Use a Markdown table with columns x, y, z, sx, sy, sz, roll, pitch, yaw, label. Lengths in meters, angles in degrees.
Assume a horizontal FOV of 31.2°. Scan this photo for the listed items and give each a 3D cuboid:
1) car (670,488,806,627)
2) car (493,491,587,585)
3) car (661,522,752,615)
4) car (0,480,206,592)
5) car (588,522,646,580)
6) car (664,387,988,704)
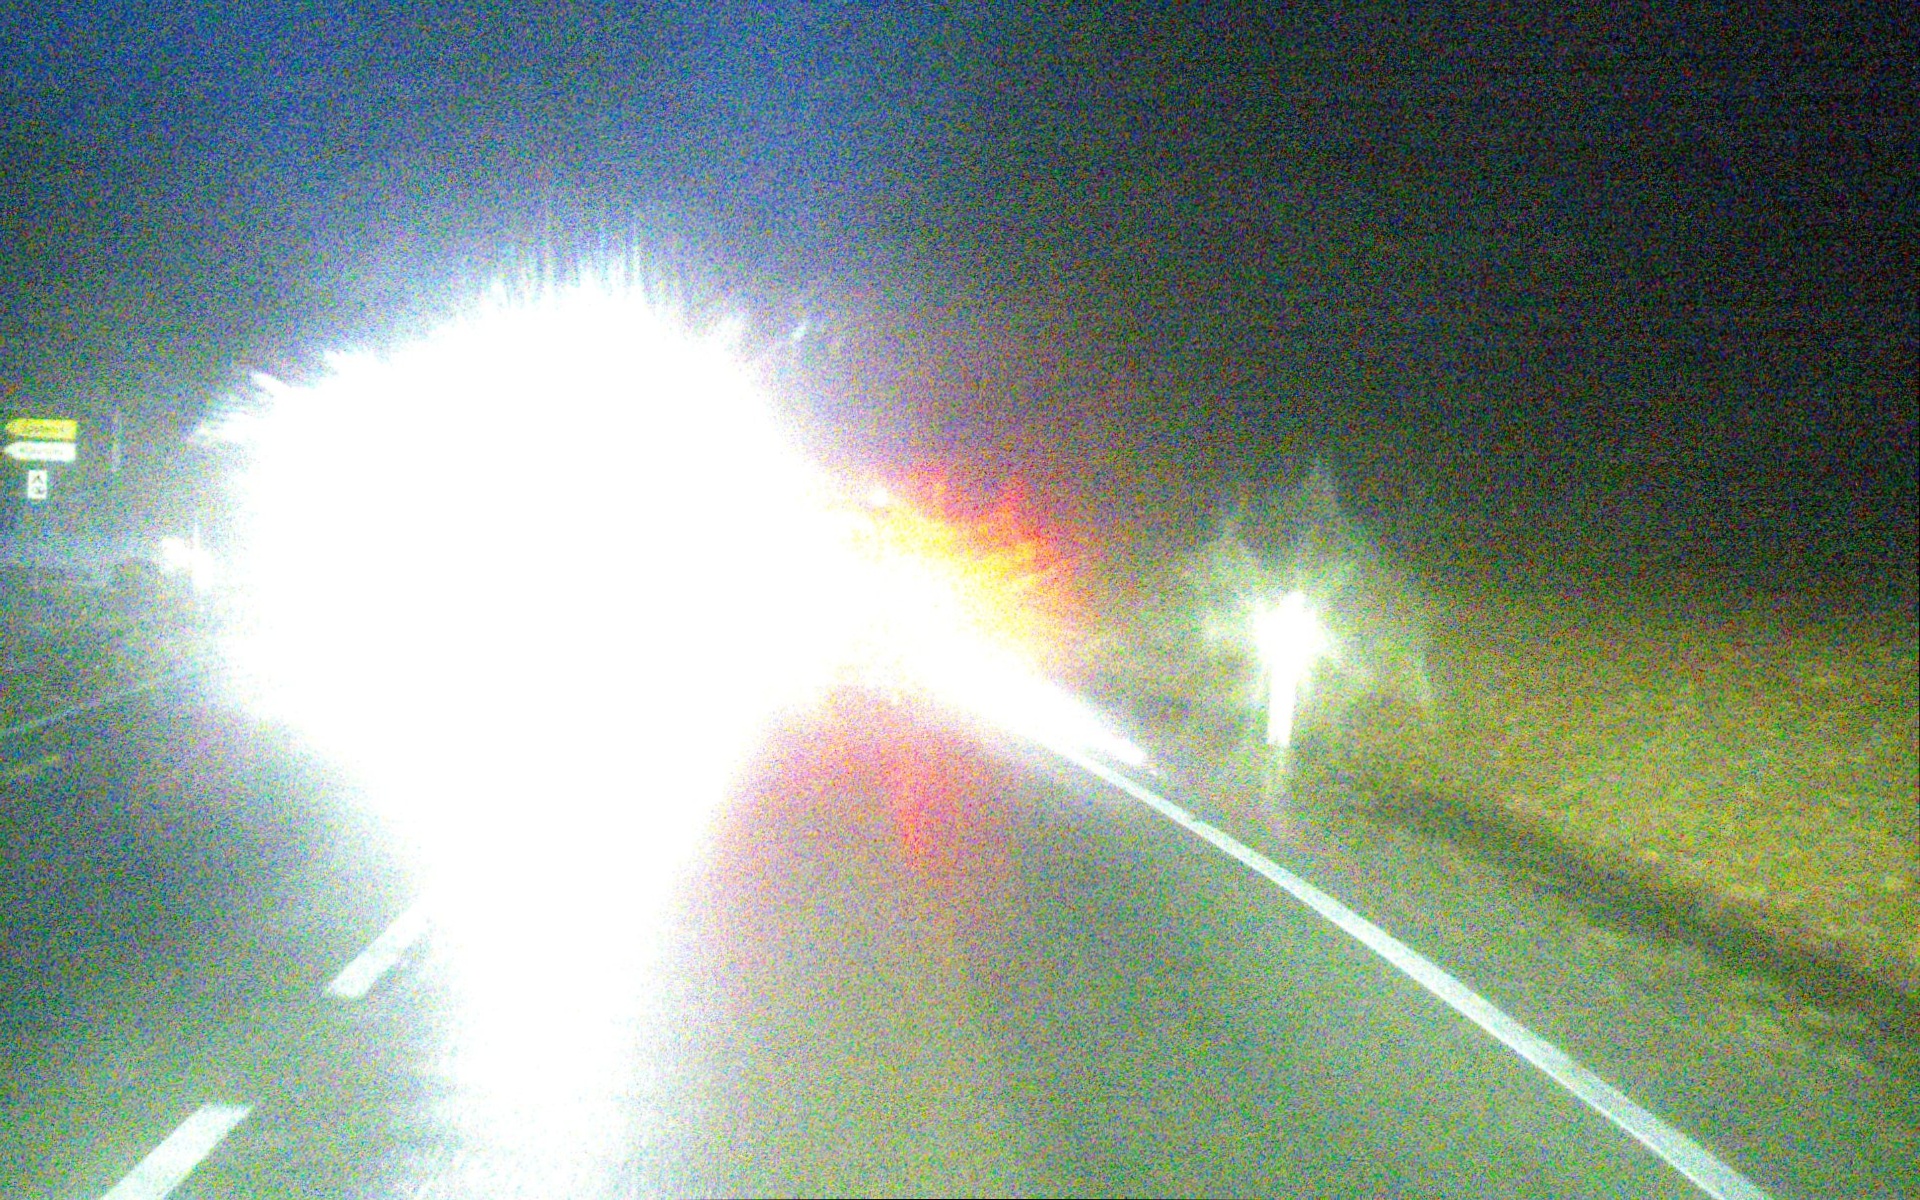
| x | y | z | sx | sy | sz | roll | pitch | yaw | label |
| --- | --- | --- | --- | --- | --- | --- | --- | --- | --- |
| -3.598 | -0.646 | 55.274 | 1.993 | 2.007 | 4.000 | 3 | -1 | -5 | car |
| -8.527 | -1.288 | 70.053 | 1.753 | 1.728 | 4.001 | 3 | 2 | -6 | car |
| -5.195 | -0.625 | 70.794 | 1.740 | 1.708 | 3.700 | 3 | -1 | -4 | car |
| -14.436 | -1.013 | 53.974 | 4.911 | 1.729 | 2.001 | 0 | 2 | -7 | car |
| -12.032 | -1.712 | 120.428 | 1.891 | 1.904 | 3.796 | 3 | 0 | -6 | car |
| -1.261 | -0.510 | 29.880 | 2.538 | 2.489 | 5.716 | 0 | 2 | -4 | car |
